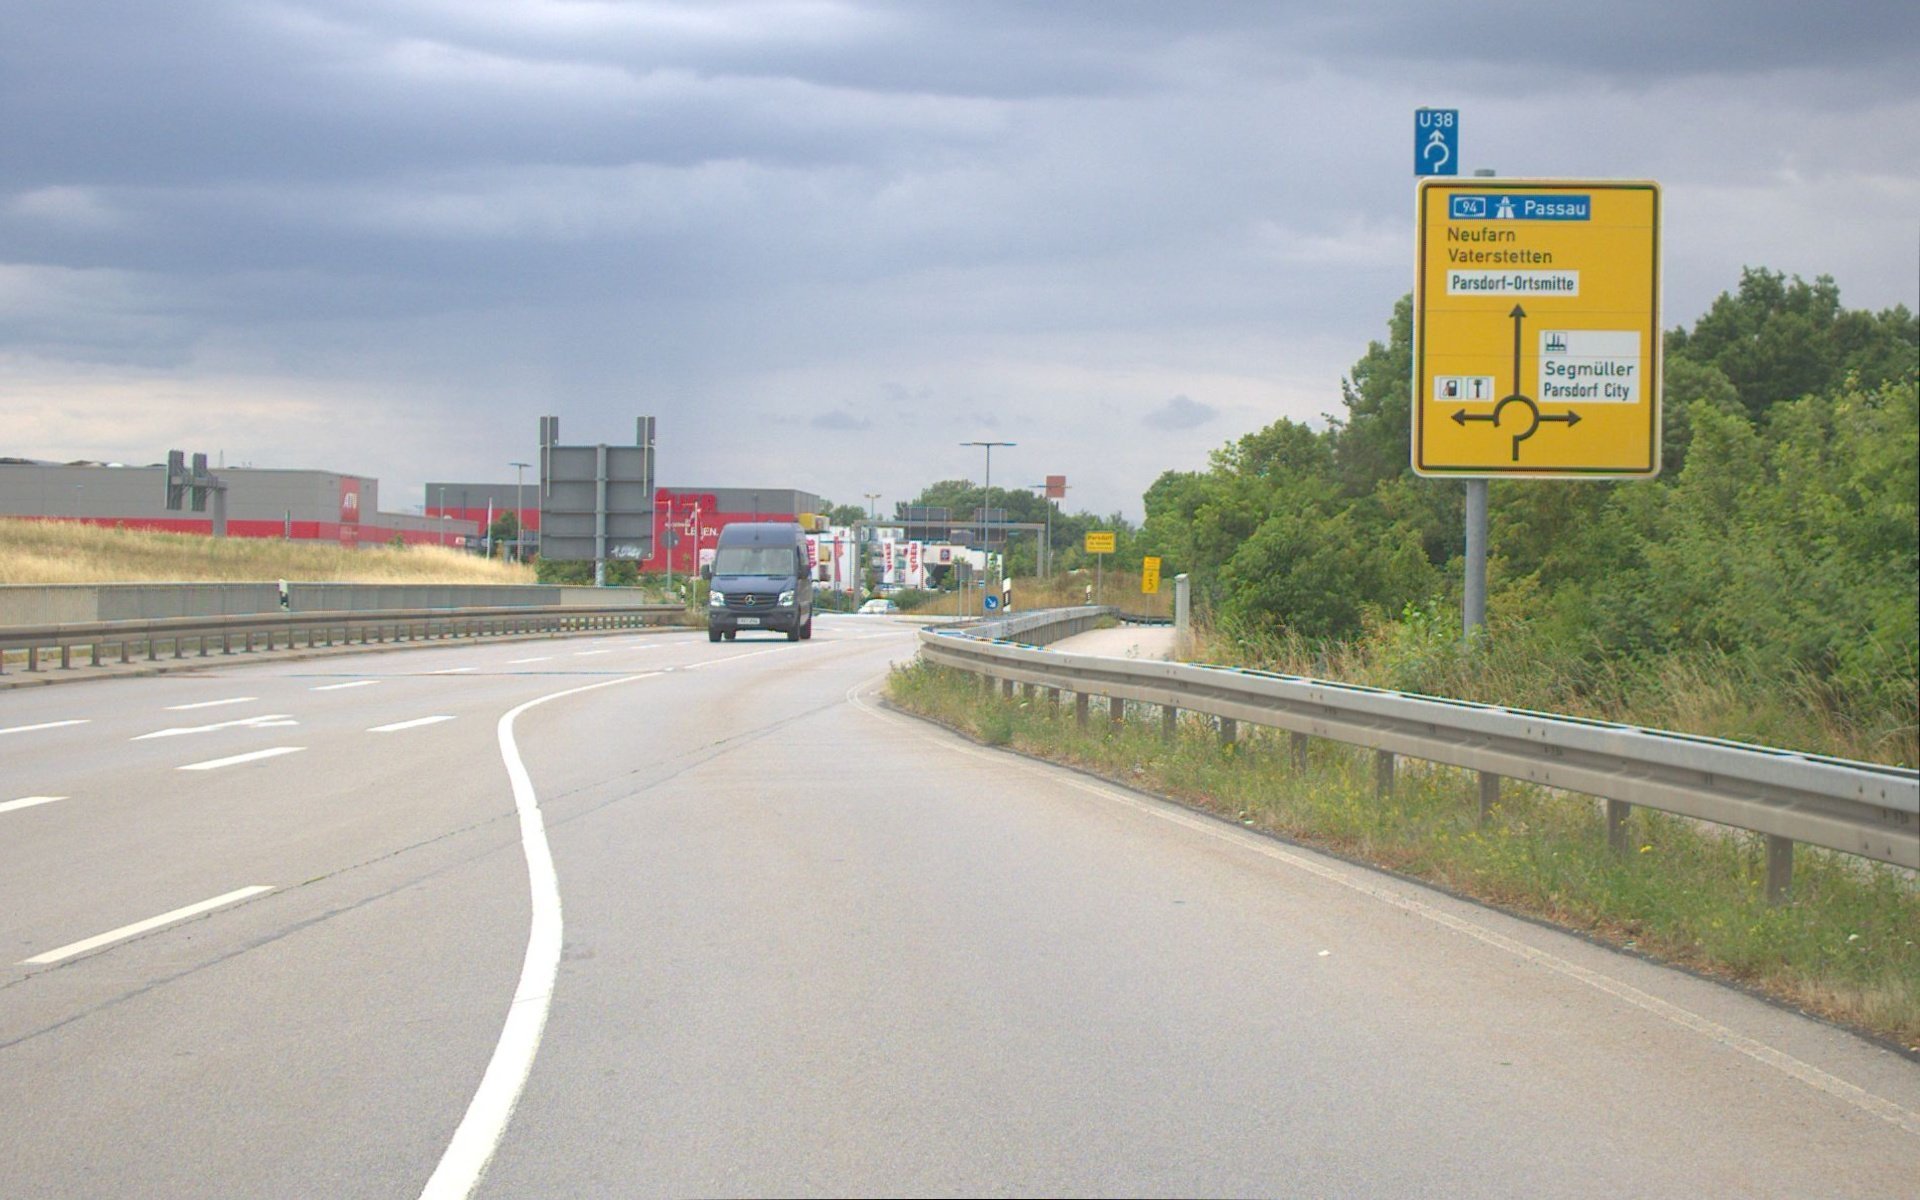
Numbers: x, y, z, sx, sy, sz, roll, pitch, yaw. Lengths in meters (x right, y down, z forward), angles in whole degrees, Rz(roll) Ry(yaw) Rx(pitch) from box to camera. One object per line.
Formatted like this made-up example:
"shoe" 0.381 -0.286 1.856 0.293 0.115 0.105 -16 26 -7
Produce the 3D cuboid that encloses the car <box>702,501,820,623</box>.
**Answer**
"car" -4.363 -0.839 76.340 1.994 2.583 6.004 1 1 2
